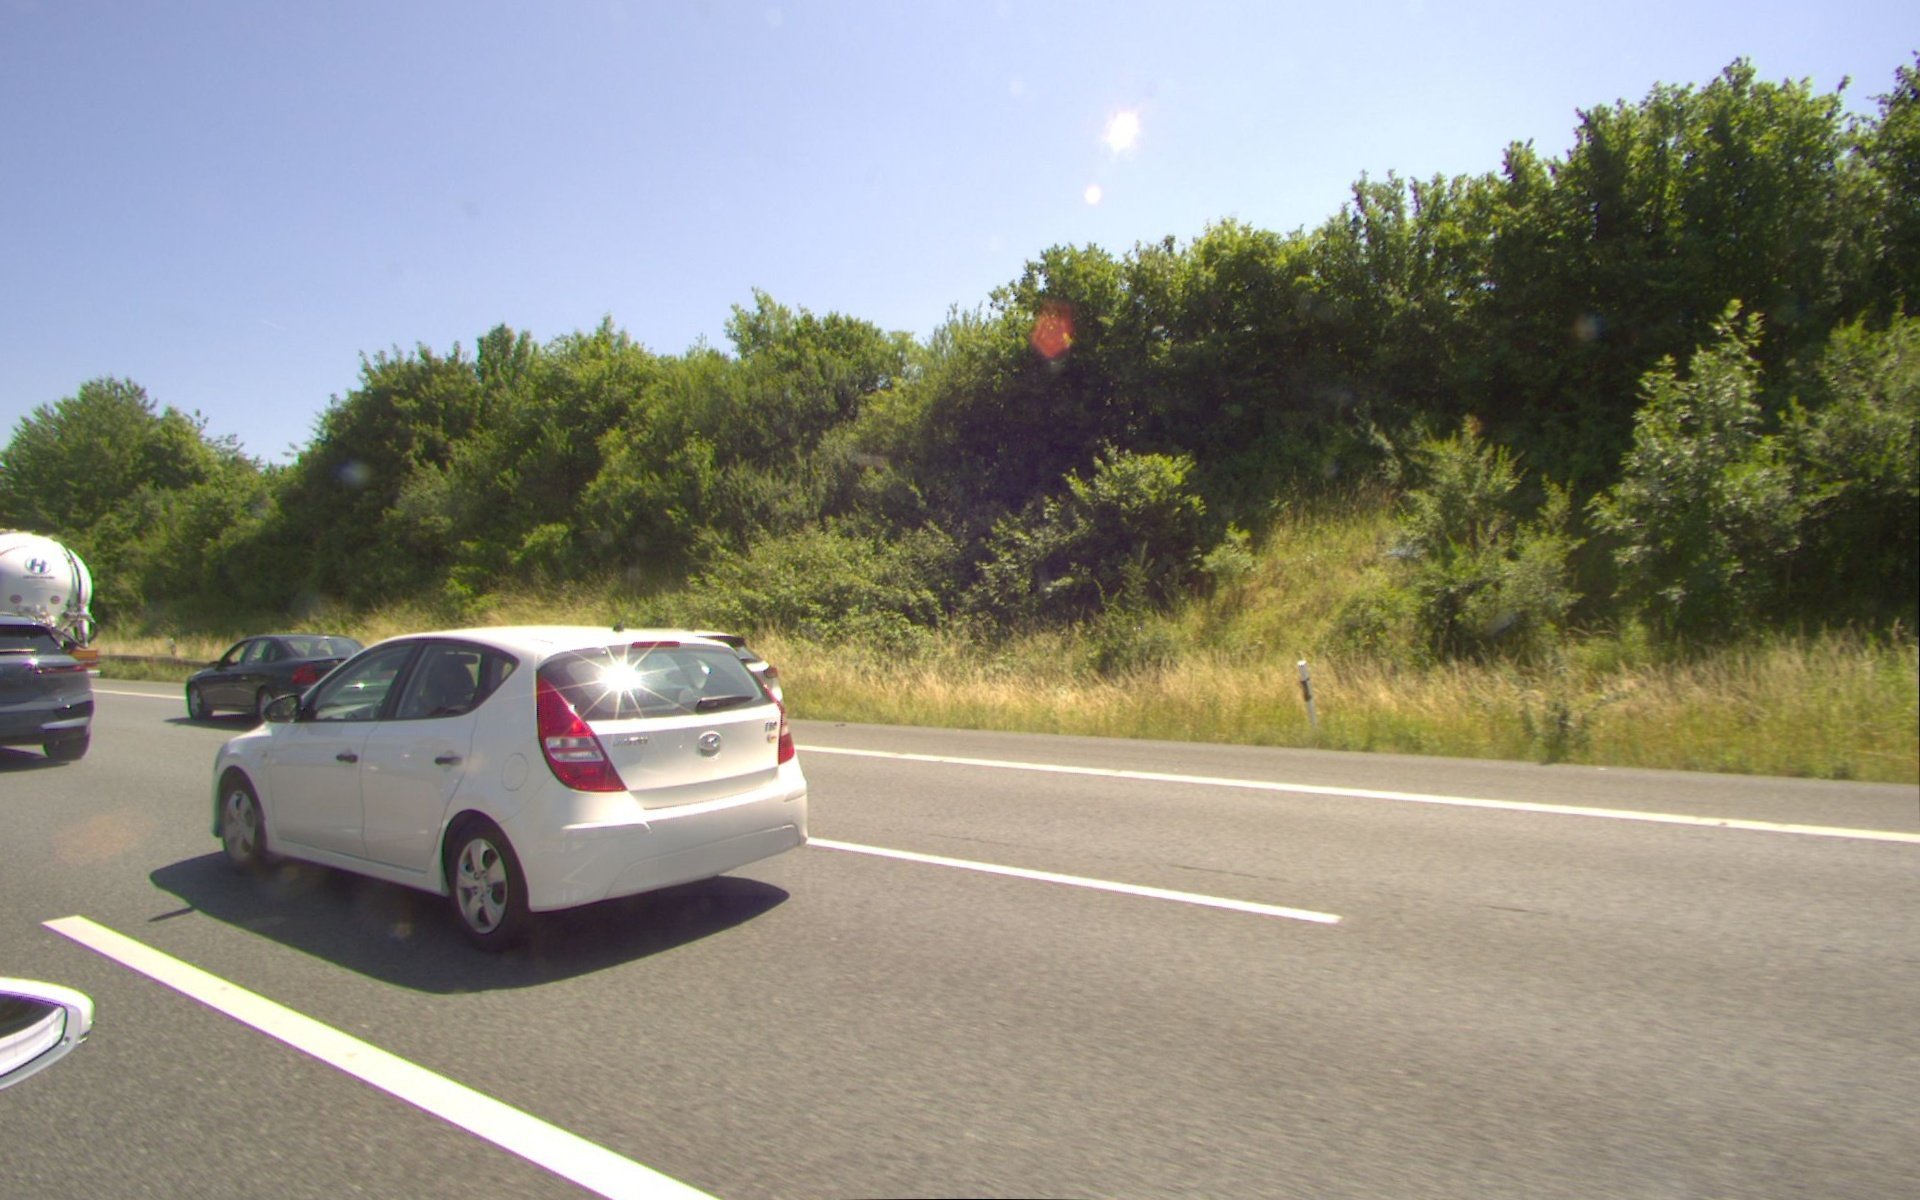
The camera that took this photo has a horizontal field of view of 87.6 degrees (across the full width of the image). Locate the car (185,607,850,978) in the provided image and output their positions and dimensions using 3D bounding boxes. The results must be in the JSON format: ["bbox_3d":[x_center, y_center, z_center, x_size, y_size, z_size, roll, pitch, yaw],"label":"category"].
[{"bbox_3d":[-2.750,0.847,5.944,3.946,1.504,1.812,-2,-1,34],"label":"car"}]

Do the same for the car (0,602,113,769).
[{"bbox_3d":[-11.880,0.949,11.594,4.562,1.737,1.995,-2,-1,34],"label":"car"}]

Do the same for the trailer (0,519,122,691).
[{"bbox_3d":[-26.028,0.207,26.443,11.323,3.895,2.755,-1,-1,33],"label":"trailer"}]

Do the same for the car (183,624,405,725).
[{"bbox_3d":[-10.945,1.163,16.385,3.934,1.435,1.637,-2,0,34],"label":"car"}]

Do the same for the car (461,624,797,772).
[{"bbox_3d":[-4.016,1.040,11.982,3.971,1.462,1.727,0,0,33],"label":"car"}]
